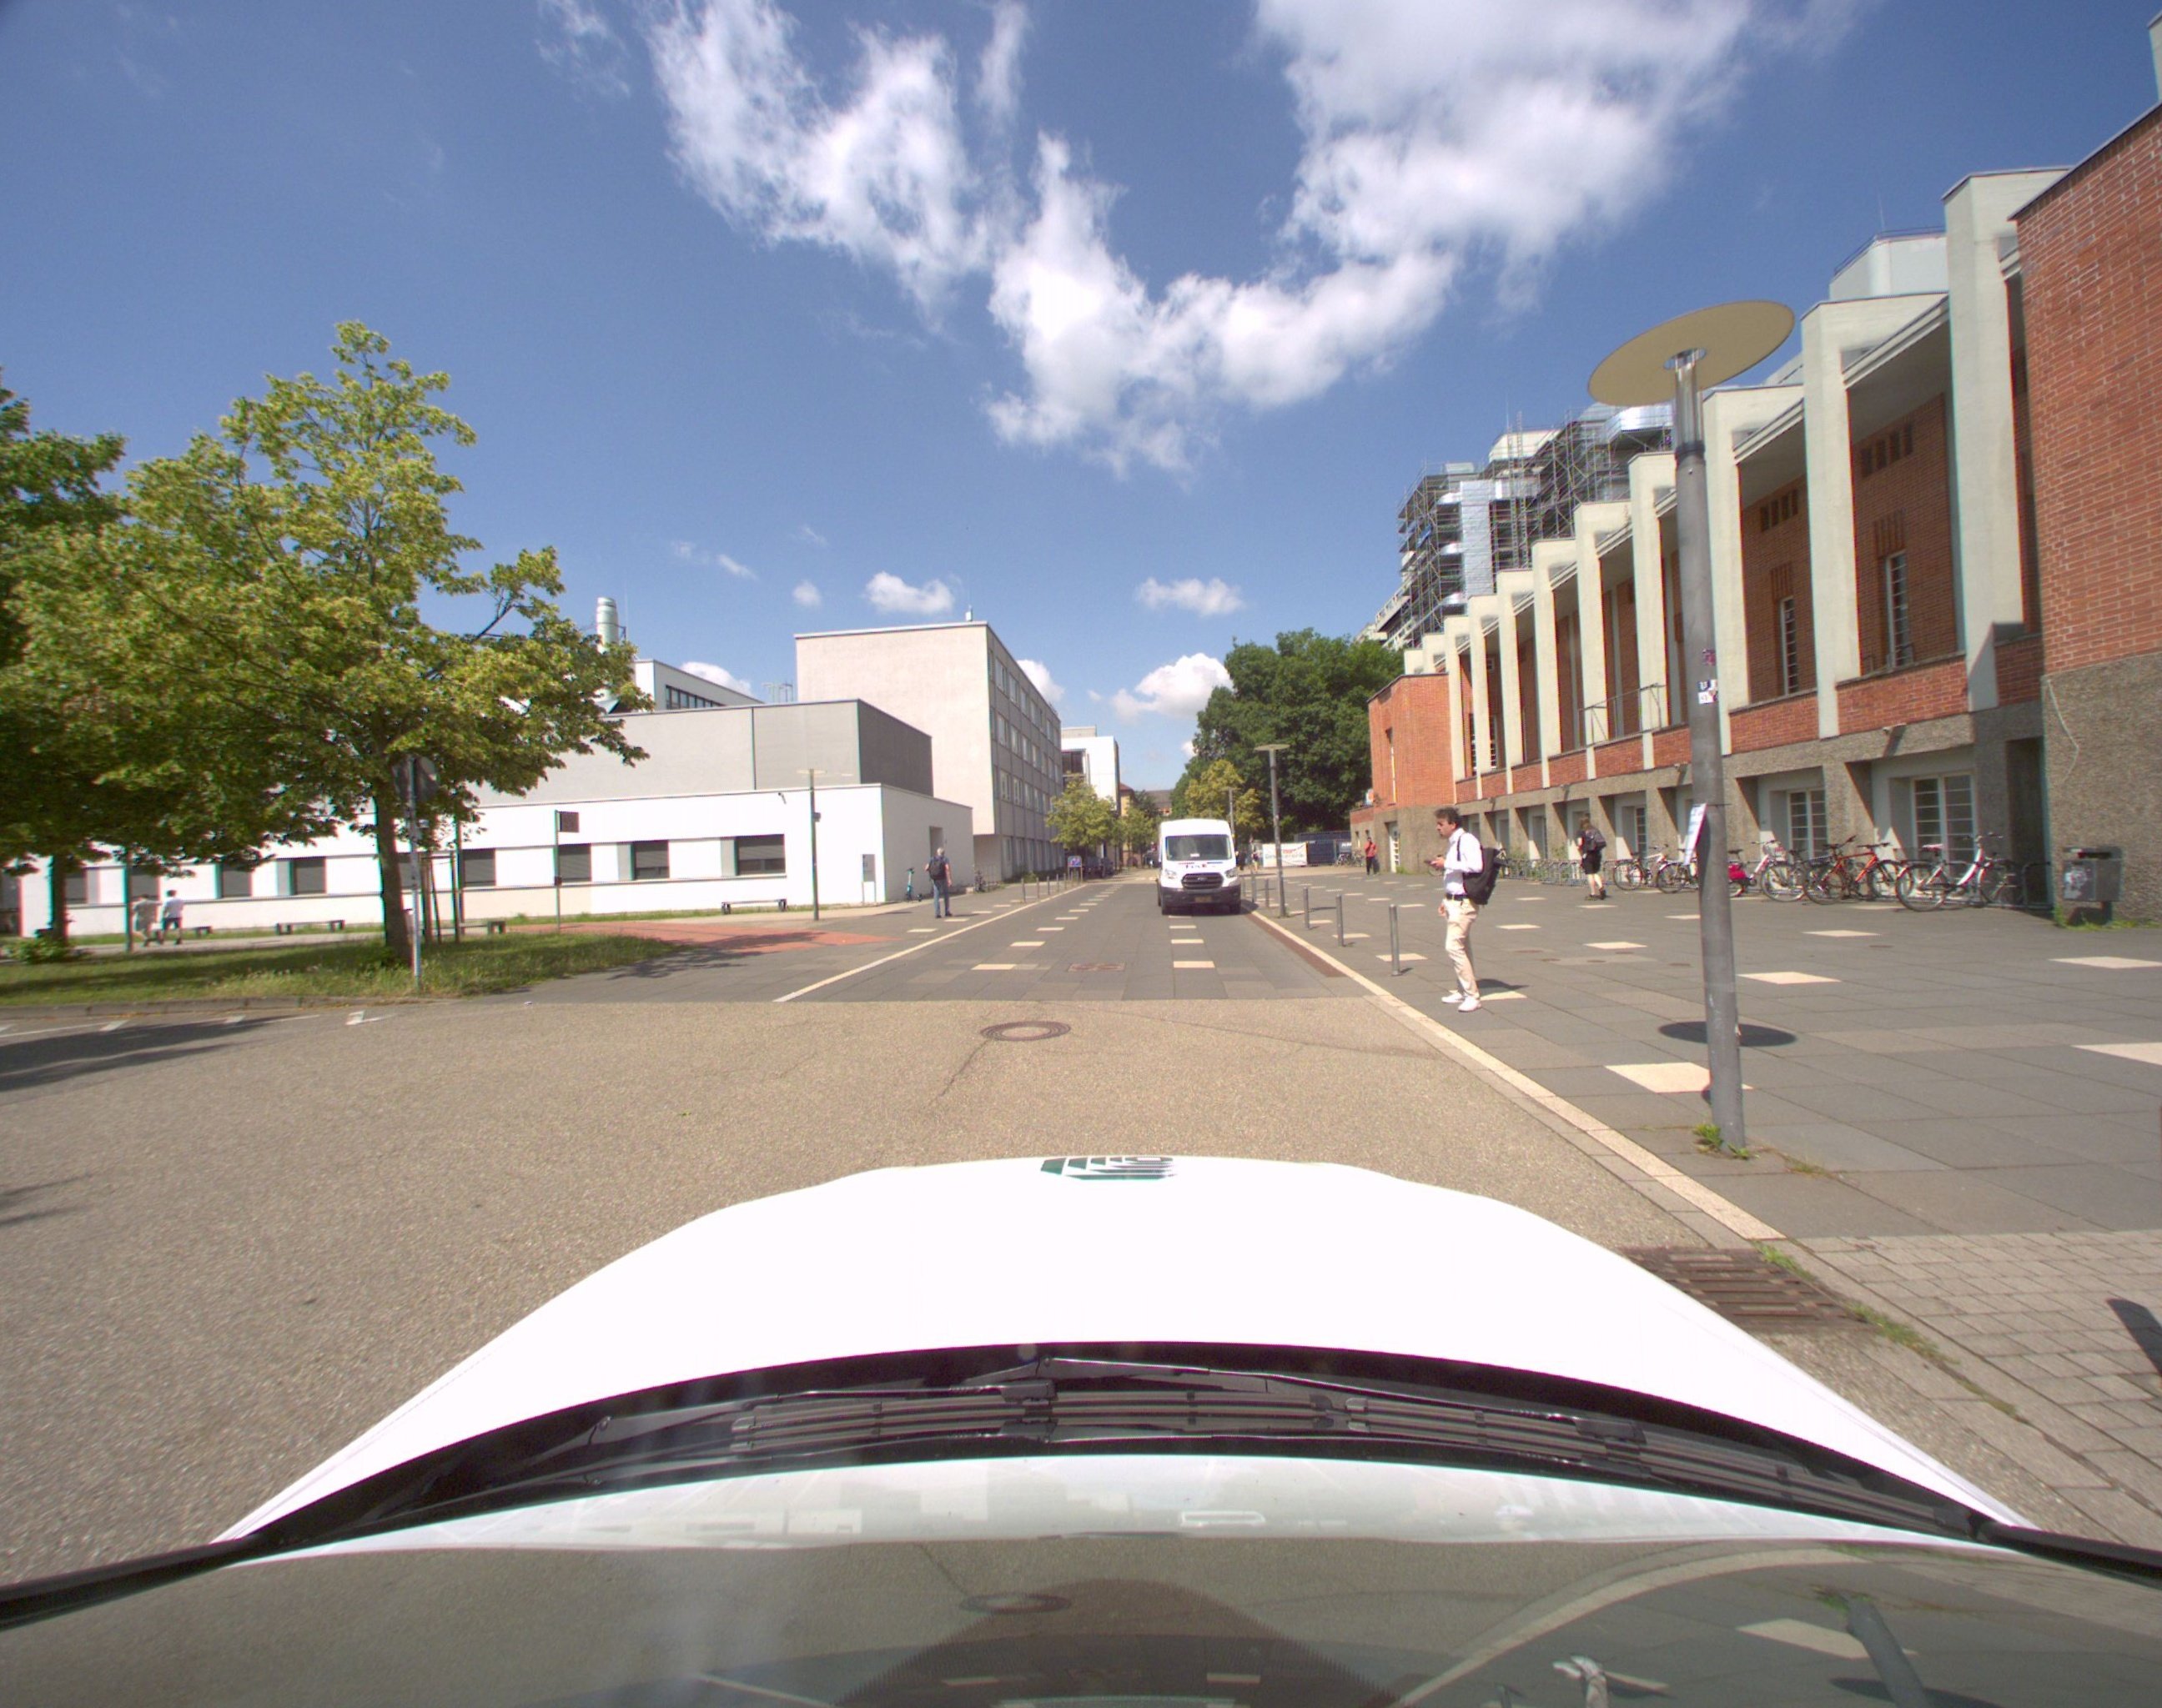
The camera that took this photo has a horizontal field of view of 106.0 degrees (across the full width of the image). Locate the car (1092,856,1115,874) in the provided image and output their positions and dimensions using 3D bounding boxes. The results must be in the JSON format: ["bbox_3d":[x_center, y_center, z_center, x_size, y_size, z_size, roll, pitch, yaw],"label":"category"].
[{"bbox_3d":[1.941,0.948,69.441,1.770,1.461,4.263,-1,0,4],"label":"car"}]

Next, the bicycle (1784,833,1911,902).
[{"bbox_3d":[13.269,0.233,14.119,1.687,1.110,0.436,-3,-1,3],"label":"bicycle"}]

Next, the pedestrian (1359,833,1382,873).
[{"bbox_3d":[13.754,-0.040,38.665,0.662,1.834,0.905,-2,-1,-5],"label":"pedestrian"}]

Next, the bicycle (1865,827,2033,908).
[{"bbox_3d":[13.098,0.204,12.317,1.921,1.110,0.457,-3,-1,3],"label":"bicycle"}]

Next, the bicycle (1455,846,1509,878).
[{"bbox_3d":[15.039,0.283,30.572,1.739,1.110,0.436,-3,-1,3],"label":"bicycle"}]

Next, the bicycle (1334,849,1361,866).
[{"bbox_3d":[18.605,0.252,56.899,1.693,1.109,0.448,-3,-1,5],"label":"bicycle"}]

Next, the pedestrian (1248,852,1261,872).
[{"bbox_3d":[11.653,0.552,54.696,0.693,1.330,0.716,-3,-1,3],"label":"pedestrian"}]

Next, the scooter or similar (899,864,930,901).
[{"bbox_3d":[-6.088,1.032,29.802,0.478,1.263,1.319,-3,0,18],"label":"scooter or similar"}]

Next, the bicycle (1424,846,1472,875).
[{"bbox_3d":[15.270,0.275,33.938,1.745,1.149,0.436,-3,-1,3],"label":"bicycle"}]

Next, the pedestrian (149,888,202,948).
[{"bbox_3d":[-29.620,2.074,26.644,0.757,1.884,0.827,-2,-1,8],"label":"pedestrian"}]

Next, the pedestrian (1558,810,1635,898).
[{"bbox_3d":[11.234,0.002,17.789,0.841,1.834,1.197,-2,-1,0],"label":"pedestrian"}]

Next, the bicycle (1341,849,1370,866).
[{"bbox_3d":[18.476,0.238,54.841,1.797,1.109,0.448,-3,-1,5],"label":"bicycle"}]

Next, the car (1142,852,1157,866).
[{"bbox_3d":[10.417,0.785,124.724,2.165,1.926,5.191,-2,-1,4],"label":"car"}]

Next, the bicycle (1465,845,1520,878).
[{"bbox_3d":[14.684,0.273,29.094,1.675,1.110,0.436,-3,-1,3],"label":"bicycle"}]

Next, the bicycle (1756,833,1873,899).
[{"bbox_3d":[13.324,0.220,14.814,1.643,1.110,0.436,-3,-1,3],"label":"bicycle"}]

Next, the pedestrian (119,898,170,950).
[{"bbox_3d":[-29.660,2.222,25.801,0.724,1.562,0.760,-2,-1,8],"label":"pedestrian"}]

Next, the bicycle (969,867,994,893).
[{"bbox_3d":[-4.511,1.166,36.977,0.540,1.061,1.905,-3,0,11],"label":"bicycle"}]

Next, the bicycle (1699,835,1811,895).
[{"bbox_3d":[13.573,0.212,16.429,1.789,1.110,0.436,-3,-1,3],"label":"bicycle"}]

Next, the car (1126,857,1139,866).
[{"bbox_3d":[7.868,1.167,124.912,1.809,1.324,3.772,-2,-1,5],"label":"car"}]

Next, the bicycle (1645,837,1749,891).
[{"bbox_3d":[13.776,0.225,18.234,1.903,1.110,0.436,-3,-1,3],"label":"bicycle"}]

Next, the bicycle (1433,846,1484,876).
[{"bbox_3d":[15.282,0.285,33.006,1.745,1.149,0.518,-3,-1,3],"label":"bicycle"}]

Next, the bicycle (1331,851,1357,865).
[{"bbox_3d":[19.135,0.287,59.219,1.663,1.003,0.448,-3,-1,5],"label":"bicycle"}]

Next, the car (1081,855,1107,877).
[{"bbox_3d":[1.029,0.894,61.358,1.689,1.564,4.072,-3,0,4],"label":"car"}]

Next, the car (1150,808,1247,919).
[{"bbox_3d":[3.047,0.236,22.334,2.050,2.543,5.855,-3,0,4],"label":"car"}]

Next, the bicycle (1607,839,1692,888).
[{"bbox_3d":[13.886,0.239,19.908,1.675,1.110,0.436,-3,-1,3],"label":"bicycle"}]

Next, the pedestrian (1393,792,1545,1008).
[{"bbox_3d":[3.643,0.407,7.640,1.012,1.848,0.922,-5,-1,36],"label":"pedestrian"}]

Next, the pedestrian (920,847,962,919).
[{"bbox_3d":[-3.668,0.745,21.378,0.820,1.817,1.144,-2,-1,0],"label":"pedestrian"}]
